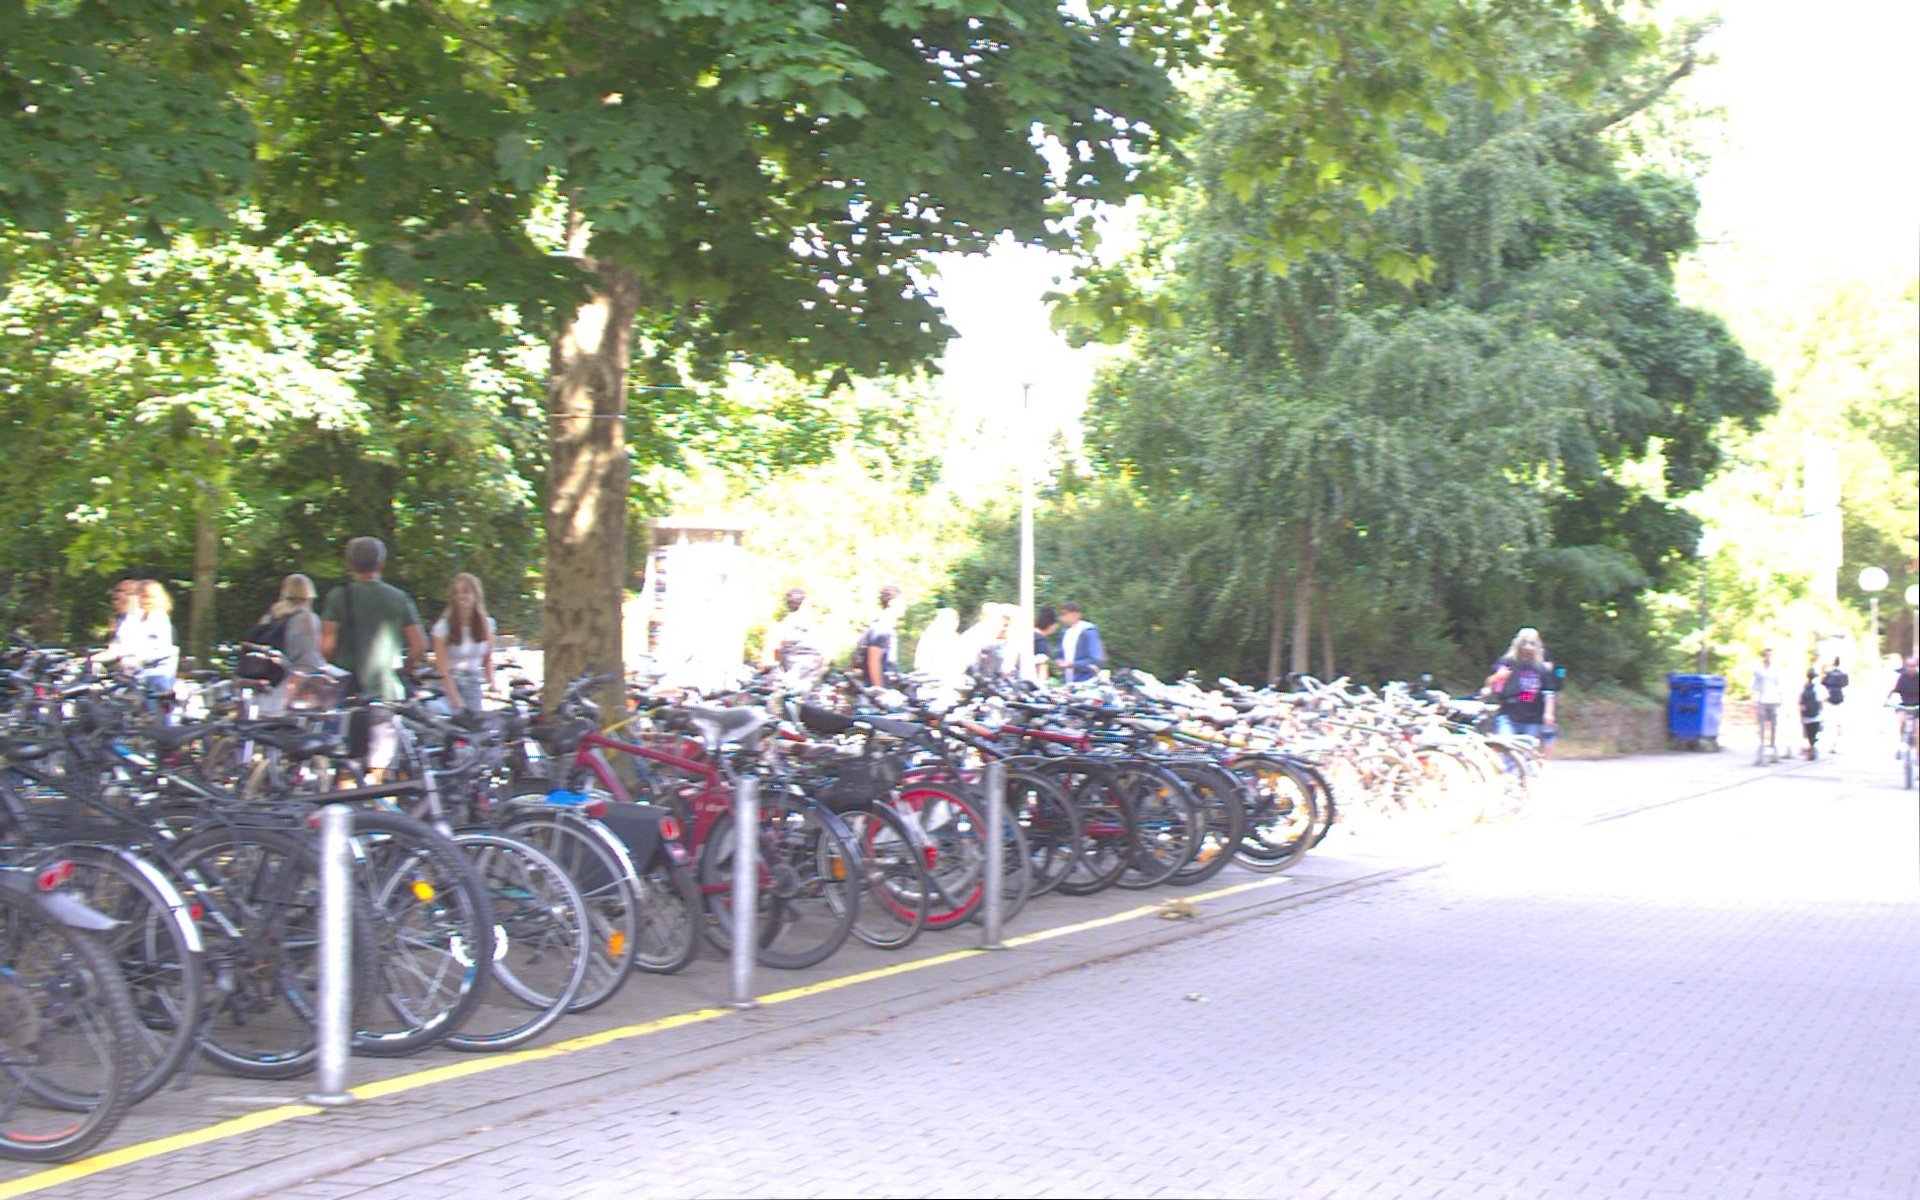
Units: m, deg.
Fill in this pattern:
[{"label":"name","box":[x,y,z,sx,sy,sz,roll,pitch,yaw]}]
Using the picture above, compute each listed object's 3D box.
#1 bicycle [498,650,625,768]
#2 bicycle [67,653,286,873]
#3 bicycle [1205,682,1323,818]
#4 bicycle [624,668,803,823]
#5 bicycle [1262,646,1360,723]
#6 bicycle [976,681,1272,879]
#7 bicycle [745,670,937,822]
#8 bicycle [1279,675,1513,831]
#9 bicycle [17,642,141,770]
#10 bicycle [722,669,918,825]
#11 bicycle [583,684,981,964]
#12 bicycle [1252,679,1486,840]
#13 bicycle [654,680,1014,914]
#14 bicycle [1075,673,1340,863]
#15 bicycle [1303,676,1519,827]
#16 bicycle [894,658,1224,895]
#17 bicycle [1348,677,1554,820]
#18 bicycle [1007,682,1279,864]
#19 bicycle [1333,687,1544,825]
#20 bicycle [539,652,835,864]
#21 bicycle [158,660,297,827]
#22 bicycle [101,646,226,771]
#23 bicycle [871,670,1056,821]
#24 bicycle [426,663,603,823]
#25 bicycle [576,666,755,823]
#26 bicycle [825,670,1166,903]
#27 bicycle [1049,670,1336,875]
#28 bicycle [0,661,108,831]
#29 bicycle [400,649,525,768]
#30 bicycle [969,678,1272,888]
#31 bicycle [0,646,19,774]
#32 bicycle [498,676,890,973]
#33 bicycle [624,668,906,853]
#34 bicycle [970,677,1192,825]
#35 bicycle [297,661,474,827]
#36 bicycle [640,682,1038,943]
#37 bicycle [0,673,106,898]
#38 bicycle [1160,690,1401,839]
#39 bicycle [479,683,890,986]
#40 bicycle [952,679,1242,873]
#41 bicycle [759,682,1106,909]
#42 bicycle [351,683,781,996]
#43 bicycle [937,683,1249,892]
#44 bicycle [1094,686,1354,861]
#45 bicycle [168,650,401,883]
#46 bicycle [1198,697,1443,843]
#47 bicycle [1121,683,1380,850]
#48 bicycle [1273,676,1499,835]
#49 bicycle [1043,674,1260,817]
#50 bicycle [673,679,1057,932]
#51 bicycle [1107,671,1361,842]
[{"label":"bicycle","box":[-3.949,1.063,33.961,0.472,1.106,1.778,2,-1,-33]},{"label":"bicycle","box":[-4.264,0.862,18.632,0.501,1.104,1.699,2,-1,-36]},{"label":"bicycle","box":[2.543,1.227,28.588,0.507,1.080,1.698,1,-1,21]},{"label":"bicycle","box":[-1.852,1.070,25.653,0.472,1.080,1.699,2,-1,-36]},{"label":"bicycle","box":[5.003,1.207,48.925,0.474,1.043,1.695,3,0,40]},{"label":"bicycle","box":[0.978,1.057,20.359,1.694,1.104,0.474,1,-1,6]},{"label":"bicycle","box":[-0.916,1.094,26.127,0.473,1.080,1.699,2,-1,-41]},{"label":"bicycle","box":[3.453,1.200,27.304,1.779,1.164,0.473,1,-1,31]},{"label":"bicycle","box":[-8.049,0.955,31.356,0.515,1.106,1.778,2,-1,-33]},{"label":"bicycle","box":[-1.052,1.078,25.529,0.473,1.080,1.699,2,-1,-41]},{"label":"bicycle","box":[-0.790,0.944,14.935,1.739,1.104,0.573,1,-1,37]},{"label":"bicycle","box":[3.097,1.204,26.103,1.694,1.164,0.474,1,-1,1]},{"label":"bicycle","box":[-0.636,0.978,17.139,1.734,1.104,0.497,2,-1,-6]},{"label":"bicycle","box":[1.634,1.097,22.620,1.694,1.183,0.474,1,-1,7]},{"label":"bicycle","box":[3.690,1.229,28.122,1.695,1.164,0.474,1,-1,12]},{"label":"bicycle","box":[0.550,0.957,18.964,1.736,1.231,0.497,1,-1,11]},{"label":"bicycle","box":[4.177,1.257,29.255,1.695,1.155,0.474,1,-1,10]},{"label":"bicycle","box":[1.190,1.105,22.185,1.694,1.104,0.565,1,-1,7]},{"label":"bicycle","box":[4.009,1.299,28.816,1.695,1.087,0.474,1,-1,12]},{"label":"bicycle","box":[-1.647,0.944,20.821,1.694,1.216,0.502,1,-1,7]},{"label":"bicycle","box":[-5.048,0.969,23.646,0.472,1.080,1.700,2,-1,-27]},{"label":"bicycle","box":[-7.419,0.998,31.963,0.515,1.106,1.778,2,-1,-33]},{"label":"bicycle","box":[0.014,1.105,26.424,0.472,1.080,1.699,2,-1,-37]},{"label":"bicycle","box":[-3.221,1.014,24.746,0.472,1.080,1.699,2,-1,-36]},{"label":"bicycle","box":[-2.180,1.047,25.296,0.472,1.080,1.699,2,-1,-36]},{"label":"bicycle","box":[0.192,0.986,18.492,1.736,1.174,0.496,1,-1,18]},{"label":"bicycle","box":[1.443,1.053,21.229,1.695,1.194,0.536,1,-1,10]},{"label":"bicycle","box":[-6.215,0.970,23.236,0.472,1.080,1.700,2,-1,-27]},{"label":"bicycle","box":[-4.887,1.055,33.710,0.472,1.106,1.778,2,-1,-33]},{"label":"bicycle","box":[0.935,1.048,19.892,1.694,1.141,0.474,1,-1,6]},{"label":"bicycle","box":[-8.934,0.960,30.793,0.515,1.106,1.778,2,-1,-30]},{"label":"bicycle","box":[-1.122,0.910,14.358,1.627,1.140,0.496,1,-1,32]},{"label":"bicycle","box":[-1.227,1.011,21.795,1.694,1.104,0.502,1,-1,7]},{"label":"bicycle","box":[0.938,1.164,26.816,1.697,1.080,0.473,1,-1,32]},{"label":"bicycle","box":[-4.023,0.990,23.978,0.472,1.080,1.699,2,-1,-36]},{"label":"bicycle","box":[-0.556,0.956,15.777,1.736,1.104,0.496,1,-1,18]},{"label":"bicycle","box":[-5.099,0.951,18.177,0.501,1.104,1.699,2,-1,-36]},{"label":"bicycle","box":[2.369,1.216,25.402,1.693,1.058,0.474,2,-1,-17]},{"label":"bicycle","box":[-1.111,0.906,13.712,1.627,1.104,0.496,1,-1,32]},{"label":"bicycle","box":[0.835,1.052,20.799,1.694,1.104,0.474,1,-1,7]},{"label":"bicycle","box":[-0.136,1.003,17.872,1.735,1.104,0.497,1,-1,6]},{"label":"bicycle","box":[-1.536,0.895,13.288,1.627,1.104,0.562,1,-1,32]},{"label":"bicycle","box":[0.758,1.045,19.398,1.694,1.104,0.497,1,-1,8]},{"label":"bicycle","box":[1.785,1.154,23.125,1.694,1.104,0.582,1,-1,7]},{"label":"bicycle","box":[-3.744,0.895,18.965,0.574,1.195,1.699,2,-1,-36]},{"label":"bicycle","box":[2.615,1.236,24.949,1.693,1.015,0.474,2,-1,-17]},{"label":"bicycle","box":[2.010,1.153,23.820,1.693,1.104,0.474,2,-1,-9]},{"label":"bicycle","box":[3.290,1.194,26.610,1.694,1.164,0.474,1,-1,6]},{"label":"bicycle","box":[1.541,1.165,27.746,1.697,1.080,0.473,1,-1,31]},{"label":"bicycle","box":[-0.451,0.964,16.394,1.736,1.122,0.497,1,-1,14]},{"label":"bicycle","box":[1.933,1.100,24.281,1.693,1.153,0.474,2,-1,-9]}]
